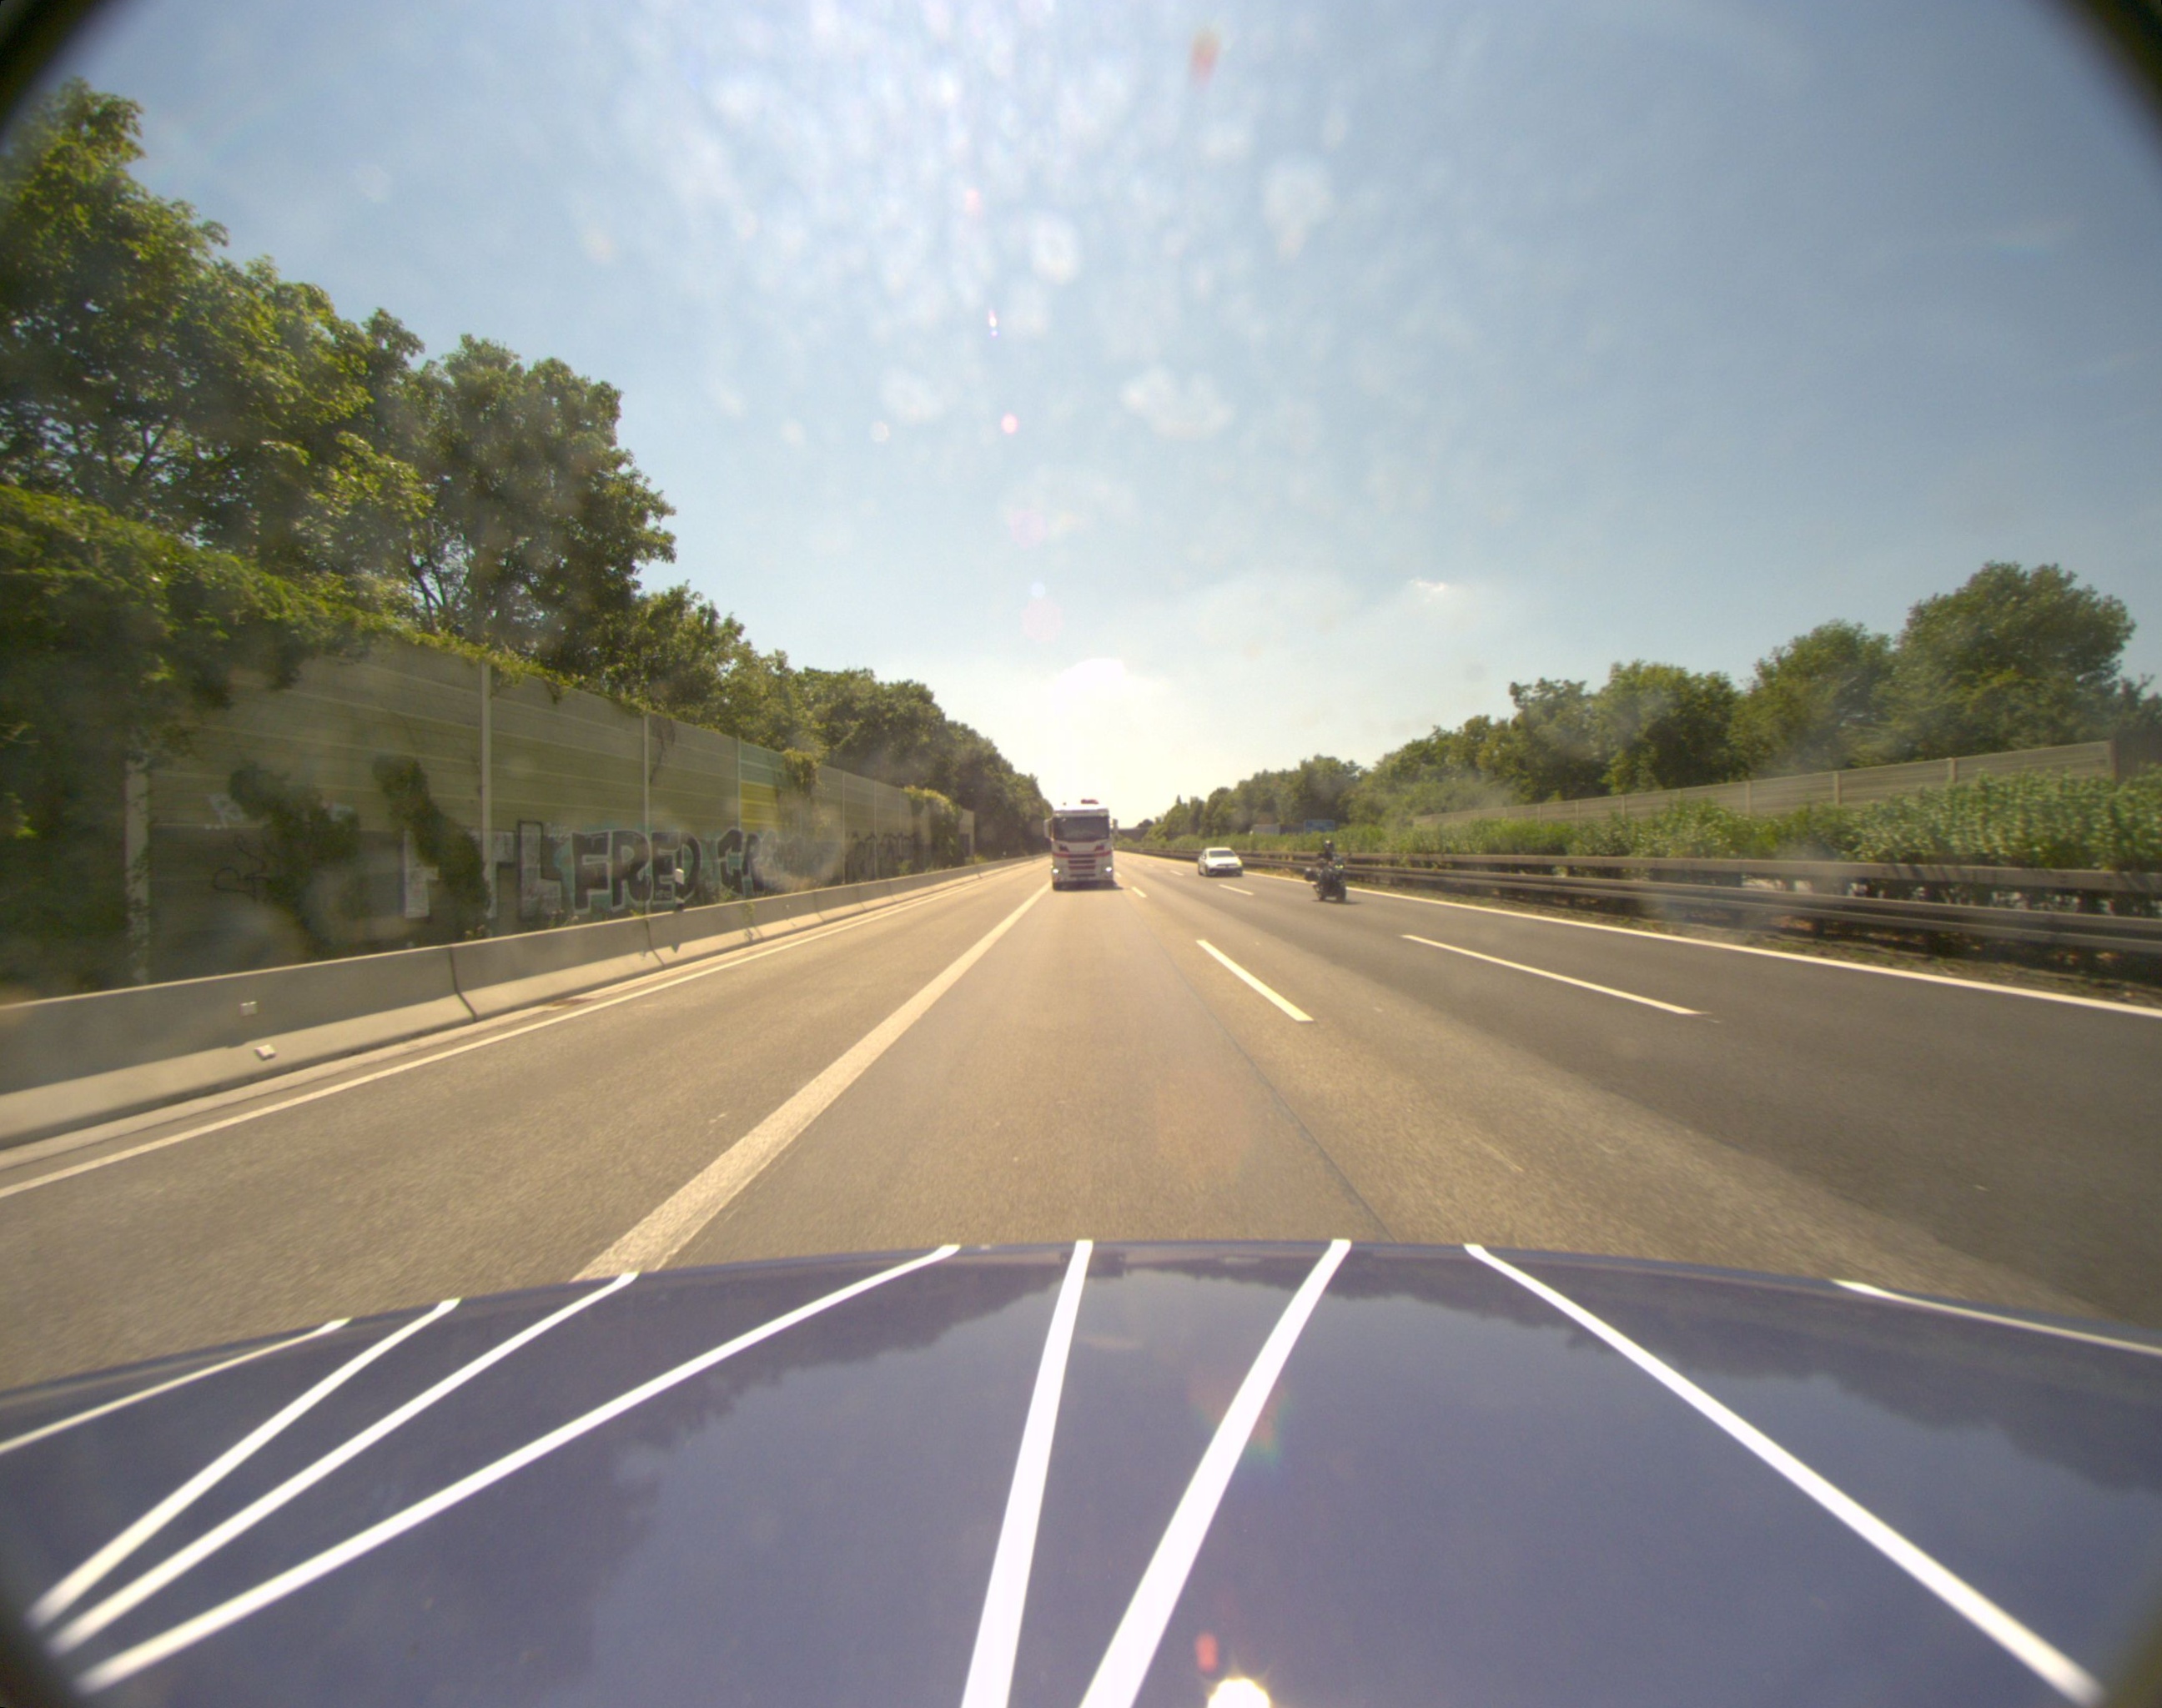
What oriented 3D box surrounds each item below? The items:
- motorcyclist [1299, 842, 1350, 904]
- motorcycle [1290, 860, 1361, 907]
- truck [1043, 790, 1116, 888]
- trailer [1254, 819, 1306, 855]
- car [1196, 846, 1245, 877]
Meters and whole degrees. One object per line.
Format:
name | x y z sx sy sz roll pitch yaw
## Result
motorcyclist | 6.569 0.498 20.537 0.895 1.588 1.299 -3 1 -1
motorcycle | 6.570 0.753 20.591 0.915 1.082 2.848 -2 1 -2
truck | 0.016 -0.588 35.399 2.721 3.780 10.672 -3 0 1
trailer | 23.081 -1.919 89.043 2.712 3.830 13.673 -2 1 2
car | 7.109 0.327 39.147 1.786 1.432 4.669 -2 1 2
